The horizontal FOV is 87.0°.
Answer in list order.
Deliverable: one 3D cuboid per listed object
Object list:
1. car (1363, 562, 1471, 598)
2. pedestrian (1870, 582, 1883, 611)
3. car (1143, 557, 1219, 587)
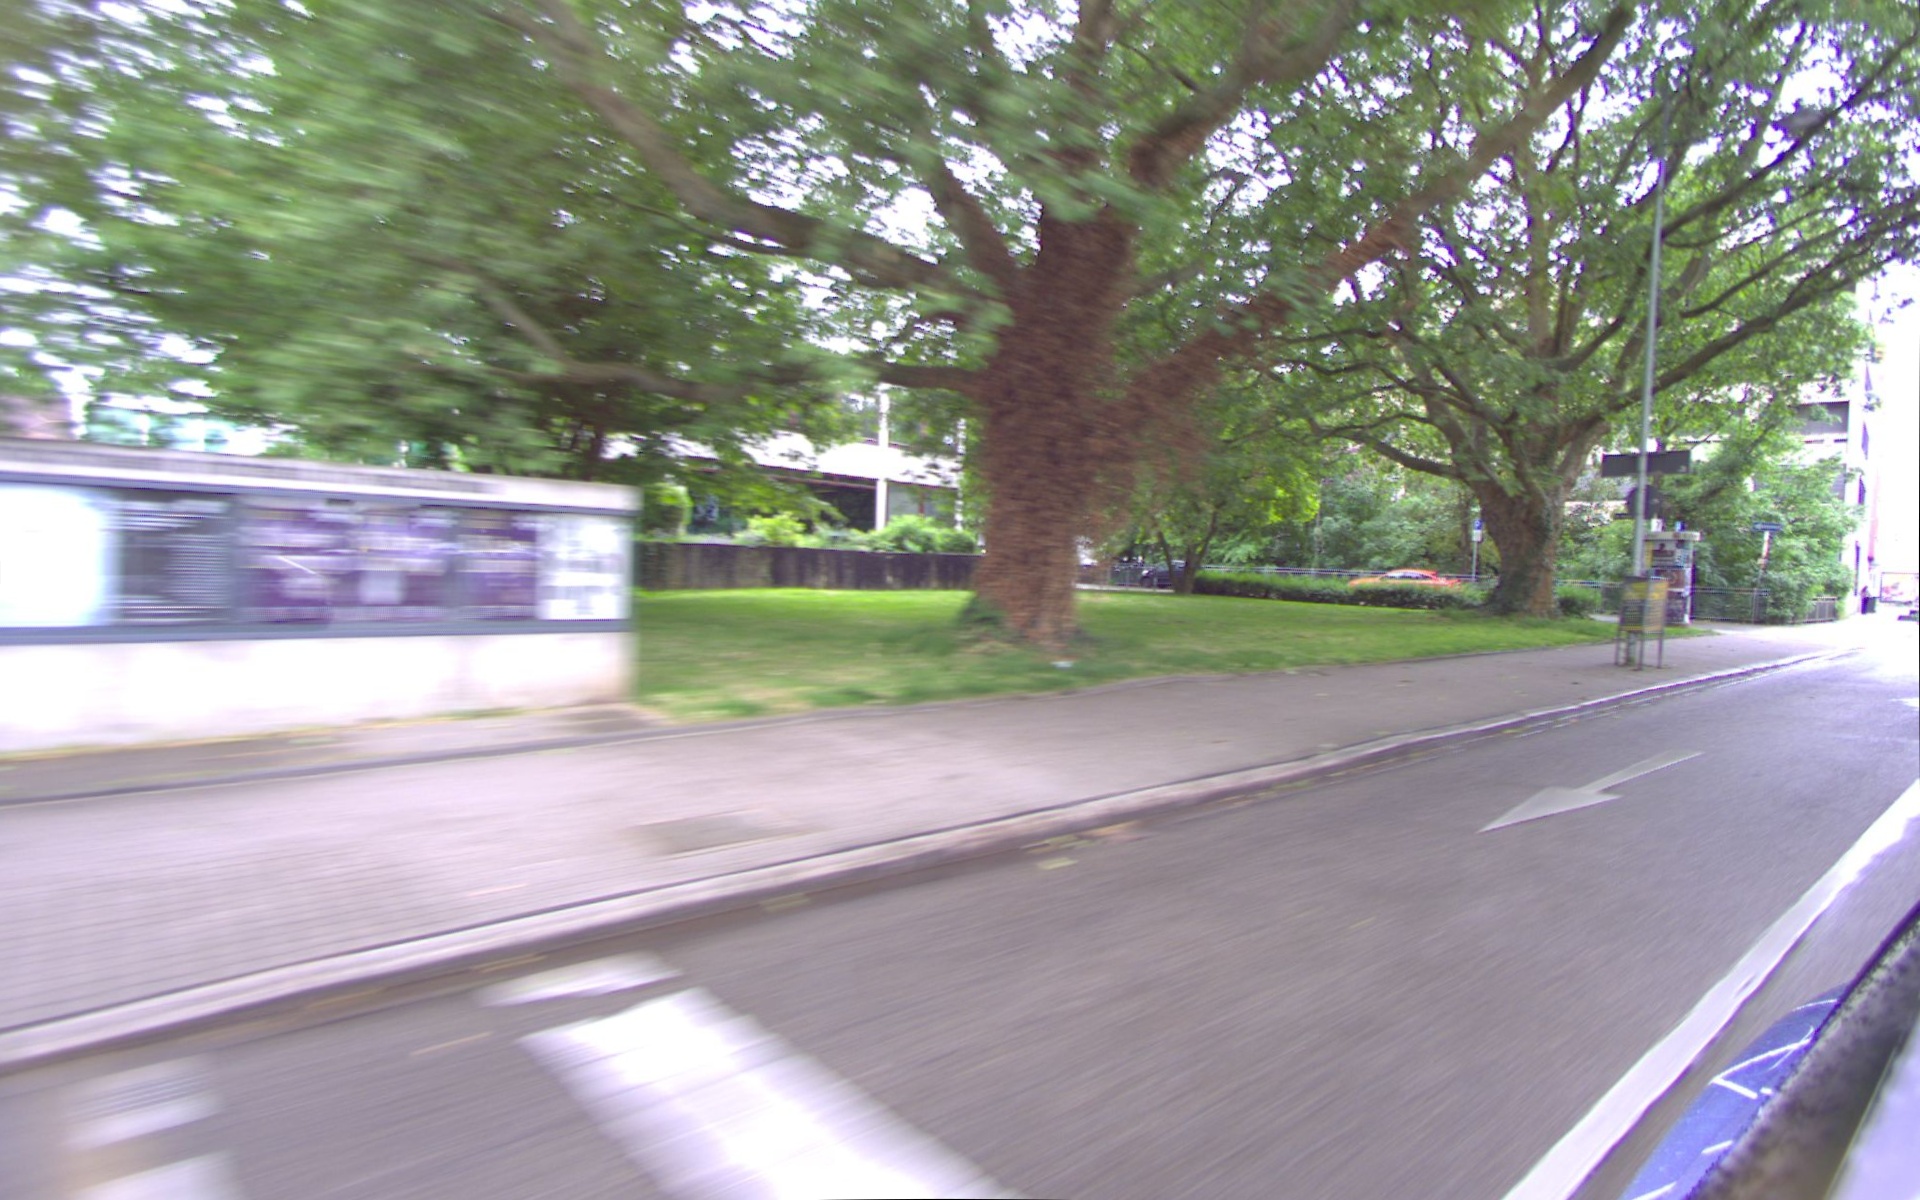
[{"bbox_3d":[18.953,-0.855,42.083,3.778,1.293,1.553,5,4,41],"label":"car"},{"bbox_3d":[50.291,-0.187,55.523,0.473,1.549,0.480,-1,1,-41],"label":"pedestrian"},{"bbox_3d":[10.966,-1.408,50.389,3.460,1.293,1.426,5,4,44],"label":"car"}]
